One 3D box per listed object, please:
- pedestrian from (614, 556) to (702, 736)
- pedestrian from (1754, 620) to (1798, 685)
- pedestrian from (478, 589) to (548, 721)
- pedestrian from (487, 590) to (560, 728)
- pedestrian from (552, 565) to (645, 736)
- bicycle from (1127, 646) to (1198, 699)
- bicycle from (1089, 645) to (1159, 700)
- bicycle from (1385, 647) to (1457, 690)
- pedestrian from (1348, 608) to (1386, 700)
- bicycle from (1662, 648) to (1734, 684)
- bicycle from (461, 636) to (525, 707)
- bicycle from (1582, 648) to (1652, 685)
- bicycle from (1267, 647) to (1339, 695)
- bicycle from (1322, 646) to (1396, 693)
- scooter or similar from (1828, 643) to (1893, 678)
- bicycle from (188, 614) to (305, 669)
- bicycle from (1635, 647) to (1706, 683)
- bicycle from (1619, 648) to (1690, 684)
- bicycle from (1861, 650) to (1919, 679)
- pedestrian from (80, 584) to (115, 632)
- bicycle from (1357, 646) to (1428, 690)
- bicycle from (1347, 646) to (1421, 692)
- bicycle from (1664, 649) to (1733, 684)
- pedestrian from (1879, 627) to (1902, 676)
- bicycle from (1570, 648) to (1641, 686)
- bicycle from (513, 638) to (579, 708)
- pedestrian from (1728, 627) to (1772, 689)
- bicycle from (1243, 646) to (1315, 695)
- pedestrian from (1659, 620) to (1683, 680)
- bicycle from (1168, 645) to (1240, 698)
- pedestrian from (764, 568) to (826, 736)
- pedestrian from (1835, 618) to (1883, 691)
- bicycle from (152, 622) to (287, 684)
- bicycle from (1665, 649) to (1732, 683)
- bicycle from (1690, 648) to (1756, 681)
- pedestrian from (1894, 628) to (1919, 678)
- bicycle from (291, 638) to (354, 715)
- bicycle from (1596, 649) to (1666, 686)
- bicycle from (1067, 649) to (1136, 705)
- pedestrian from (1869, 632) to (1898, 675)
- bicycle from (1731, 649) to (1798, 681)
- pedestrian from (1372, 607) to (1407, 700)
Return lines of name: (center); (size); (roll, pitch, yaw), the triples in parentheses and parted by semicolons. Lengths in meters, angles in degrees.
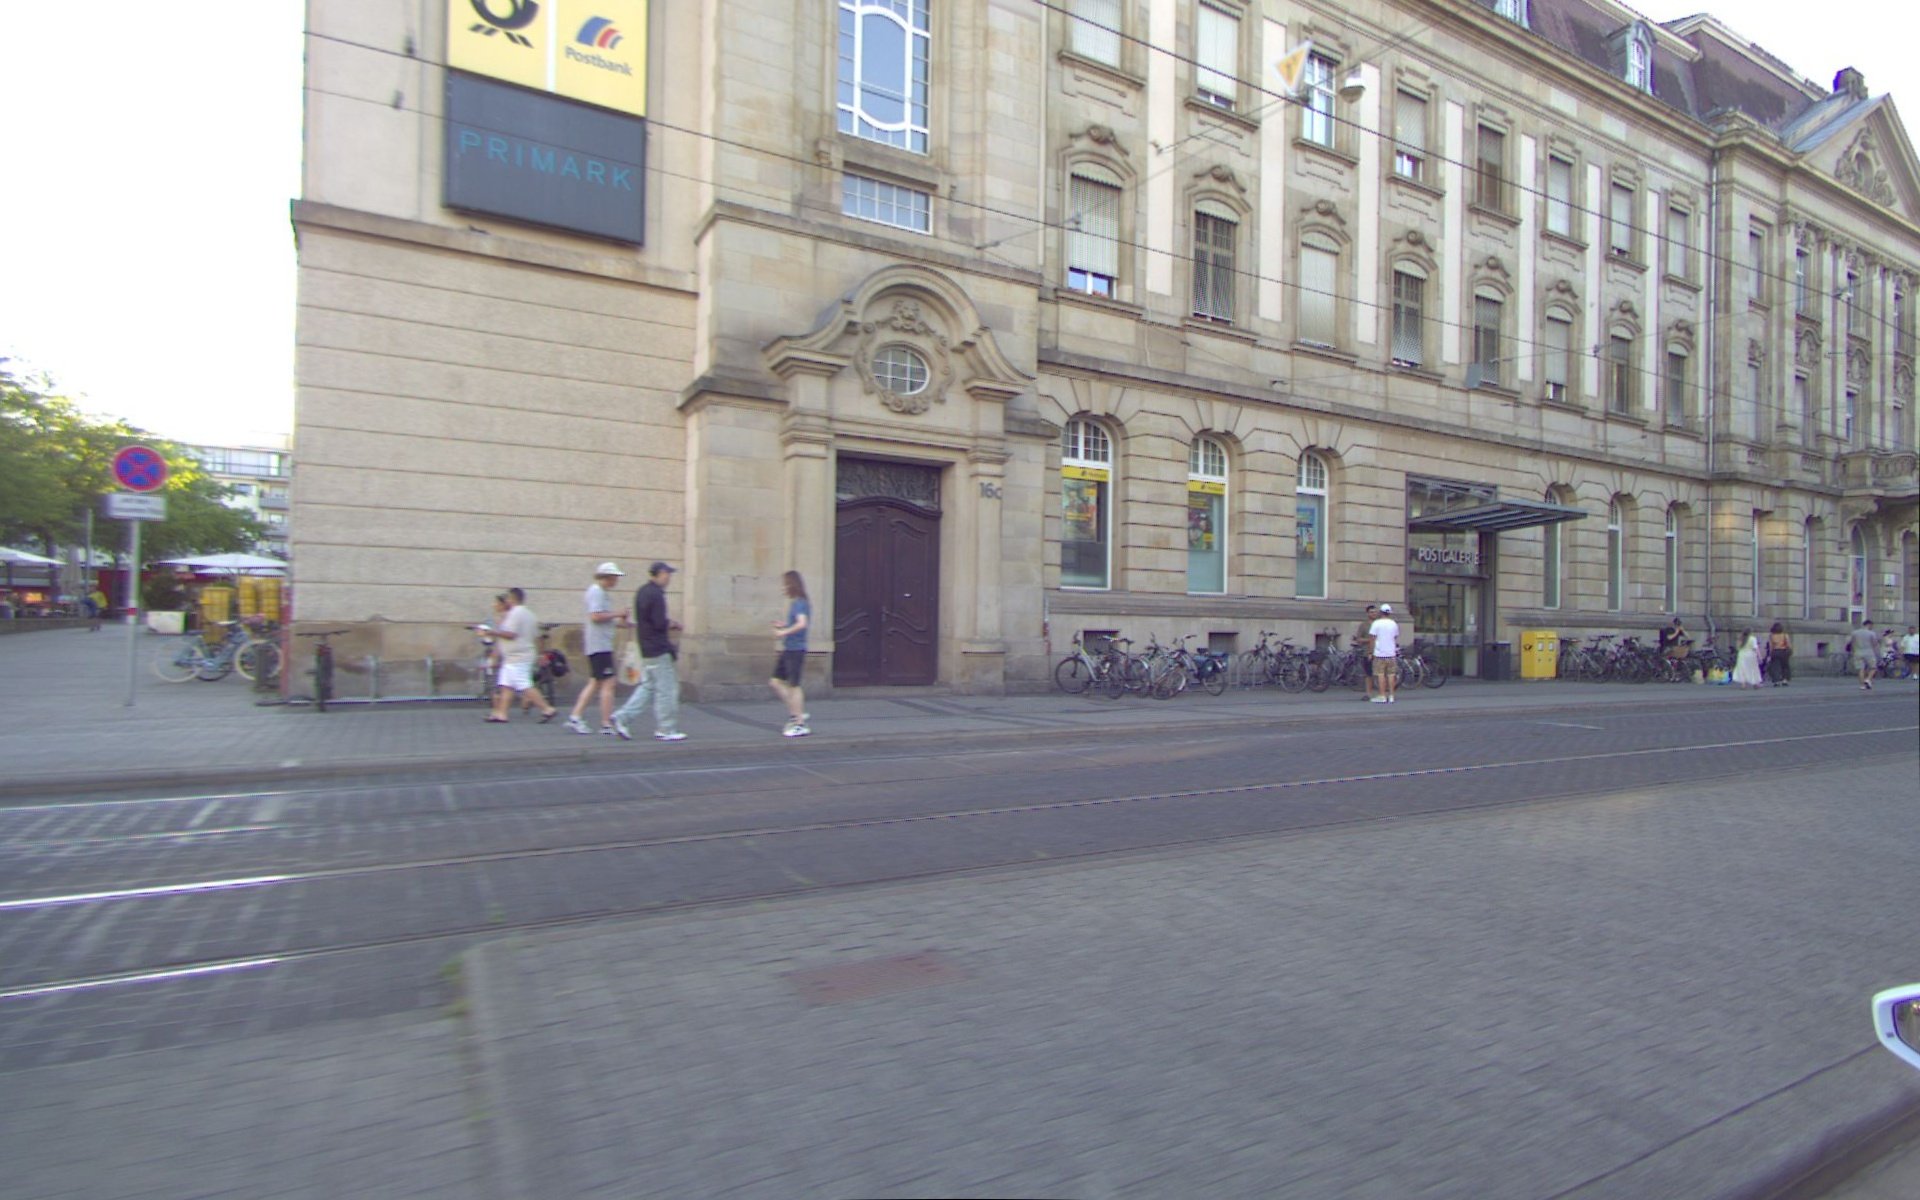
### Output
pedestrian: (-3.076, 0.466, 10.240); (0.640, 1.759, 0.593); (-1, -2, 38)
pedestrian: (22.201, 1.417, 27.324); (0.806, 1.734, 0.689); (2, -1, -30)
pedestrian: (-5.589, 0.674, 12.543); (0.672, 1.582, 0.655); (2, -1, -33)
pedestrian: (-5.197, 0.682, 11.953); (0.672, 1.582, 0.655); (2, -1, -33)
pedestrian: (-3.880, 0.534, 10.793); (0.670, 1.759, 0.674); (-2, -2, 39)
bicycle: (3.793, 1.352, 18.917); (0.445, 0.885, 1.571); (2, 0, -24)
bicycle: (2.995, 1.319, 18.483); (0.445, 0.885, 1.571); (2, 0, -24)
bicycle: (10.498, 1.549, 22.929); (0.445, 0.885, 1.571); (2, 0, -24)
pedestrian: (7.656, 1.002, 18.902); (0.484, 1.695, 0.376); (2, 0, -7)
bicycle: (20.504, 1.831, 27.943); (0.445, 0.885, 1.571); (2, 0, -24)
bicycle: (-6.709, 0.996, 14.392); (0.628, 0.880, 1.825); (2, 0, -31)
bicycle: (17.594, 1.778, 26.922); (0.445, 0.885, 1.571); (2, 0, -24)
bicycle: (7.126, 1.460, 20.906); (0.445, 0.885, 1.571); (2, 0, -24)
bicycle: (8.438, 1.458, 21.298); (0.445, 0.885, 1.571); (2, 0, -24)
scooter or similar: (29.921, 2.004, 33.397); (0.445, 1.082, 1.543); (2, 0, -24)
bicycle: (-13.996, 0.808, 19.752); (1.820, 1.025, 0.480); (1, 0, -31)
bicycle: (19.689, 1.800, 27.865); (0.445, 0.885, 1.571); (2, 0, -24)
bicycle: (19.093, 1.813, 27.643); (0.445, 0.885, 1.571); (2, 0, -24)
bicycle: (31.742, 2.192, 34.160); (0.445, 0.885, 1.571); (2, 0, -24)
pedestrian: (-32.269, 0.296, 37.584); (0.791, 1.724, 0.793); (2, 0, -31)
bicycle: (9.786, 1.521, 22.753); (0.445, 0.885, 1.571); (2, 0, -24)
bicycle: (9.226, 1.493, 21.903); (0.445, 0.885, 1.571); (2, 0, -24)
bicycle: (20.989, 1.870, 28.574); (0.445, 0.885, 1.571); (2, 0, -24)
pedestrian: (32.127, 1.788, 34.673); (0.597, 1.664, 0.334); (2, 0, -23)
bicycle: (17.057, 1.755, 26.573); (0.445, 0.885, 1.571); (2, 0, -24)
bicycle: (-6.126, 1.051, 14.811); (0.628, 0.880, 1.825); (2, 0, -31)
pedestrian: (19.427, 1.416, 24.709); (0.549, 1.486, 0.689); (2, -1, -30)
bicycle: (6.485, 1.432, 20.494); (0.445, 0.885, 1.571); (2, 0, -24)
pedestrian: (20.093, 1.406, 28.379); (0.423, 1.655, 0.363); (2, 0, -24)
bicycle: (4.664, 1.354, 19.265); (0.445, 0.885, 1.571); (2, 0, -24)
pedestrian: (-1.791, 0.557, 10.889); (0.476, 1.759, 0.676); (1, -2, -27)
pedestrian: (22.976, 1.378, 25.678); (0.805, 1.837, 0.689); (2, -1, -30)
bicycle: (-12.755, 0.901, 17.363); (1.820, 1.025, 0.480); (1, 0, -31)
bicycle: (21.729, 1.944, 29.587); (0.445, 0.885, 1.571); (2, 0, -24)
bicycle: (23.097, 1.945, 30.431); (0.445, 0.885, 1.571); (2, 0, -24)
pedestrian: (32.350, 1.809, 34.271); (0.554, 1.664, 0.475); (2, 0, -24)
bicycle: (-8.509, 0.991, 13.448); (0.628, 0.880, 1.825); (2, 0, -31)
bicycle: (18.124, 1.809, 27.158); (0.445, 0.885, 1.571); (2, 0, -24)
bicycle: (2.548, 1.375, 18.188); (0.445, 0.885, 1.571); (2, 0, -24)
pedestrian: (32.587, 1.887, 35.458); (0.560, 1.459, 0.441); (2, 0, 7)
bicycle: (24.859, 2.006, 31.063); (0.445, 0.885, 1.571); (2, 0, -24)
pedestrian: (7.846, 0.970, 18.361); (0.483, 1.652, 0.376); (2, 0, 11)
